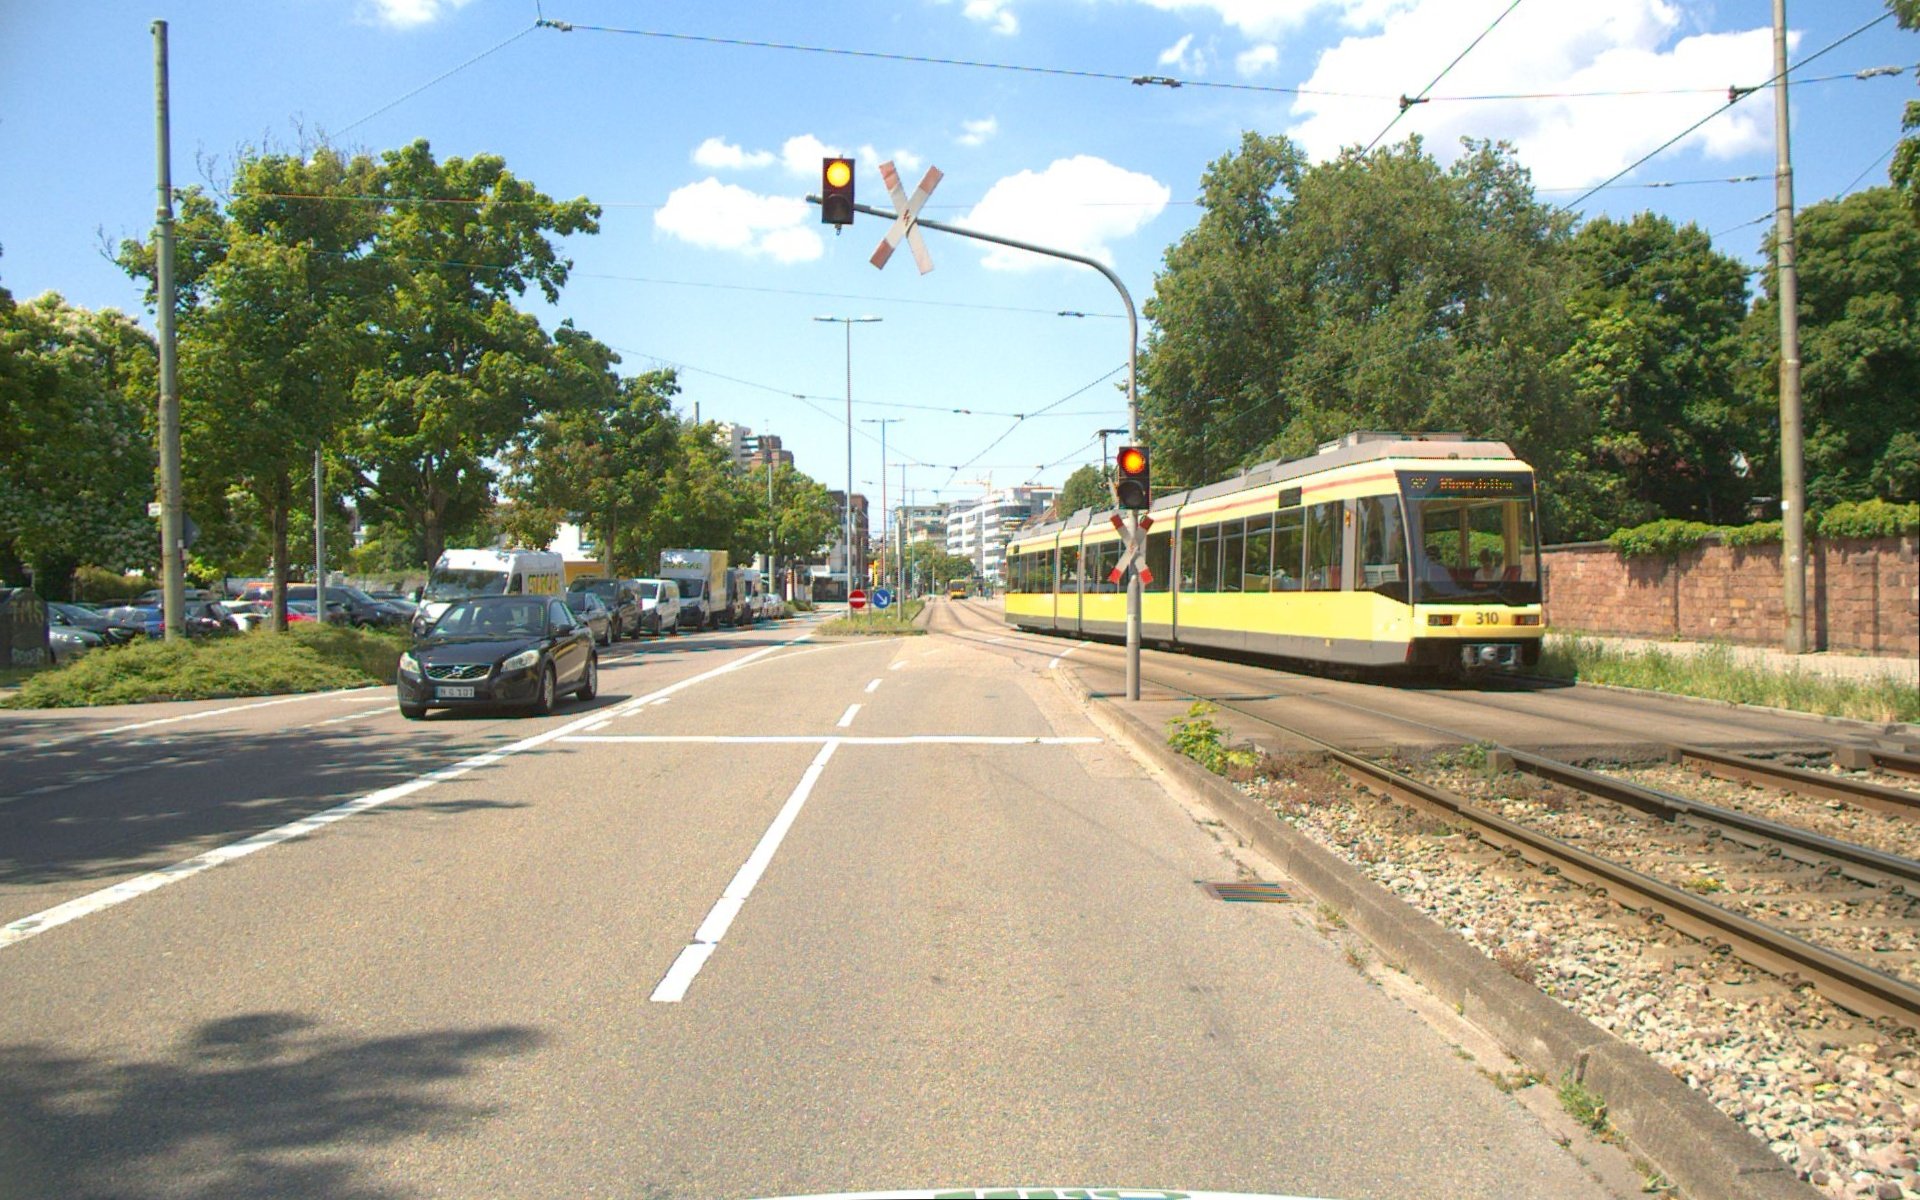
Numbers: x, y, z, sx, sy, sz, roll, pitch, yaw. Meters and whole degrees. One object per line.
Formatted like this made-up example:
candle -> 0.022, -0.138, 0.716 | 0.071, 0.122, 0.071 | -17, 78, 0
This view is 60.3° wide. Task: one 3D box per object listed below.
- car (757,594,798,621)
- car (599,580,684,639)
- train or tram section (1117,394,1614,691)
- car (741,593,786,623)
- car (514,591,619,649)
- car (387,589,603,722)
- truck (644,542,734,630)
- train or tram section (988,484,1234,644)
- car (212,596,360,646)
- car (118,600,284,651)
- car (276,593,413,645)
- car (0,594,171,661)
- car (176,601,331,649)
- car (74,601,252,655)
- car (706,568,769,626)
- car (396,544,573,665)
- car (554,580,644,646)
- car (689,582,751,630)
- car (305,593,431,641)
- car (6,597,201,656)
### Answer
car -> -11.302, 0.435, 102.793 | 2.019, 1.609, 4.871 | -1, 0, 0
car -> -11.097, 0.302, 57.942 | 2.019, 1.931, 4.871 | -1, 0, 0
train or tram section -> 6.046, -0.828, 30.178 | 2.886, 3.756, 18.368 | 0, 1, -6
car -> -11.280, 0.442, 95.197 | 2.019, 1.609, 4.871 | -1, 0, 0
car -> -10.714, 0.507, 45.363 | 1.830, 1.462, 4.342 | -1, 0, 0
car -> -5.733, 0.622, 20.877 | 1.644, 1.422, 4.004 | -3, 1, -2
truck -> -10.805, -0.562, 66.537 | 2.112, 3.266, 7.084 | 2, 1, 2
train or tram section -> 3.753, -0.971, 49.188 | 2.888, 3.756, 20.250 | 0, 1, -8
car -> -21.313, 0.659, 52.404 | 3.906, 1.467, 1.805 | -1, 0, -2
car -> -21.748, 0.725, 47.485 | 3.906, 1.362, 1.804 | -1, 0, -2
car -> -20.568, 0.616, 55.367 | 3.906, 1.634, 1.804 | -1, 0, -2
car -> -20.991, 0.639, 38.978 | 3.906, 1.467, 1.804 | -1, 0, -2
car -> -21.341, 0.740, 50.055 | 3.906, 1.362, 1.804 | -1, 0, -2
car -> -21.559, 0.737, 44.850 | 3.906, 1.362, 1.804 | -1, 0, -2
car -> -10.916, -0.184, 81.575 | 2.112, 2.685, 5.613 | 2, 1, 2
car -> -10.868, 0.061, 38.377 | 2.112, 2.530, 6.194 | 1, 1, 2
car -> -11.126, 0.362, 51.259 | 1.830, 1.928, 4.270 | -1, 0, 0
car -> -10.698, 0.237, 74.058 | 2.019, 2.011, 4.871 | -1, 0, 0
car -> -21.334, 0.609, 59.717 | 3.906, 1.634, 1.804 | -1, 0, -2
car -> -21.386, 0.648, 41.391 | 3.906, 1.362, 1.804 | -1, 0, -2
